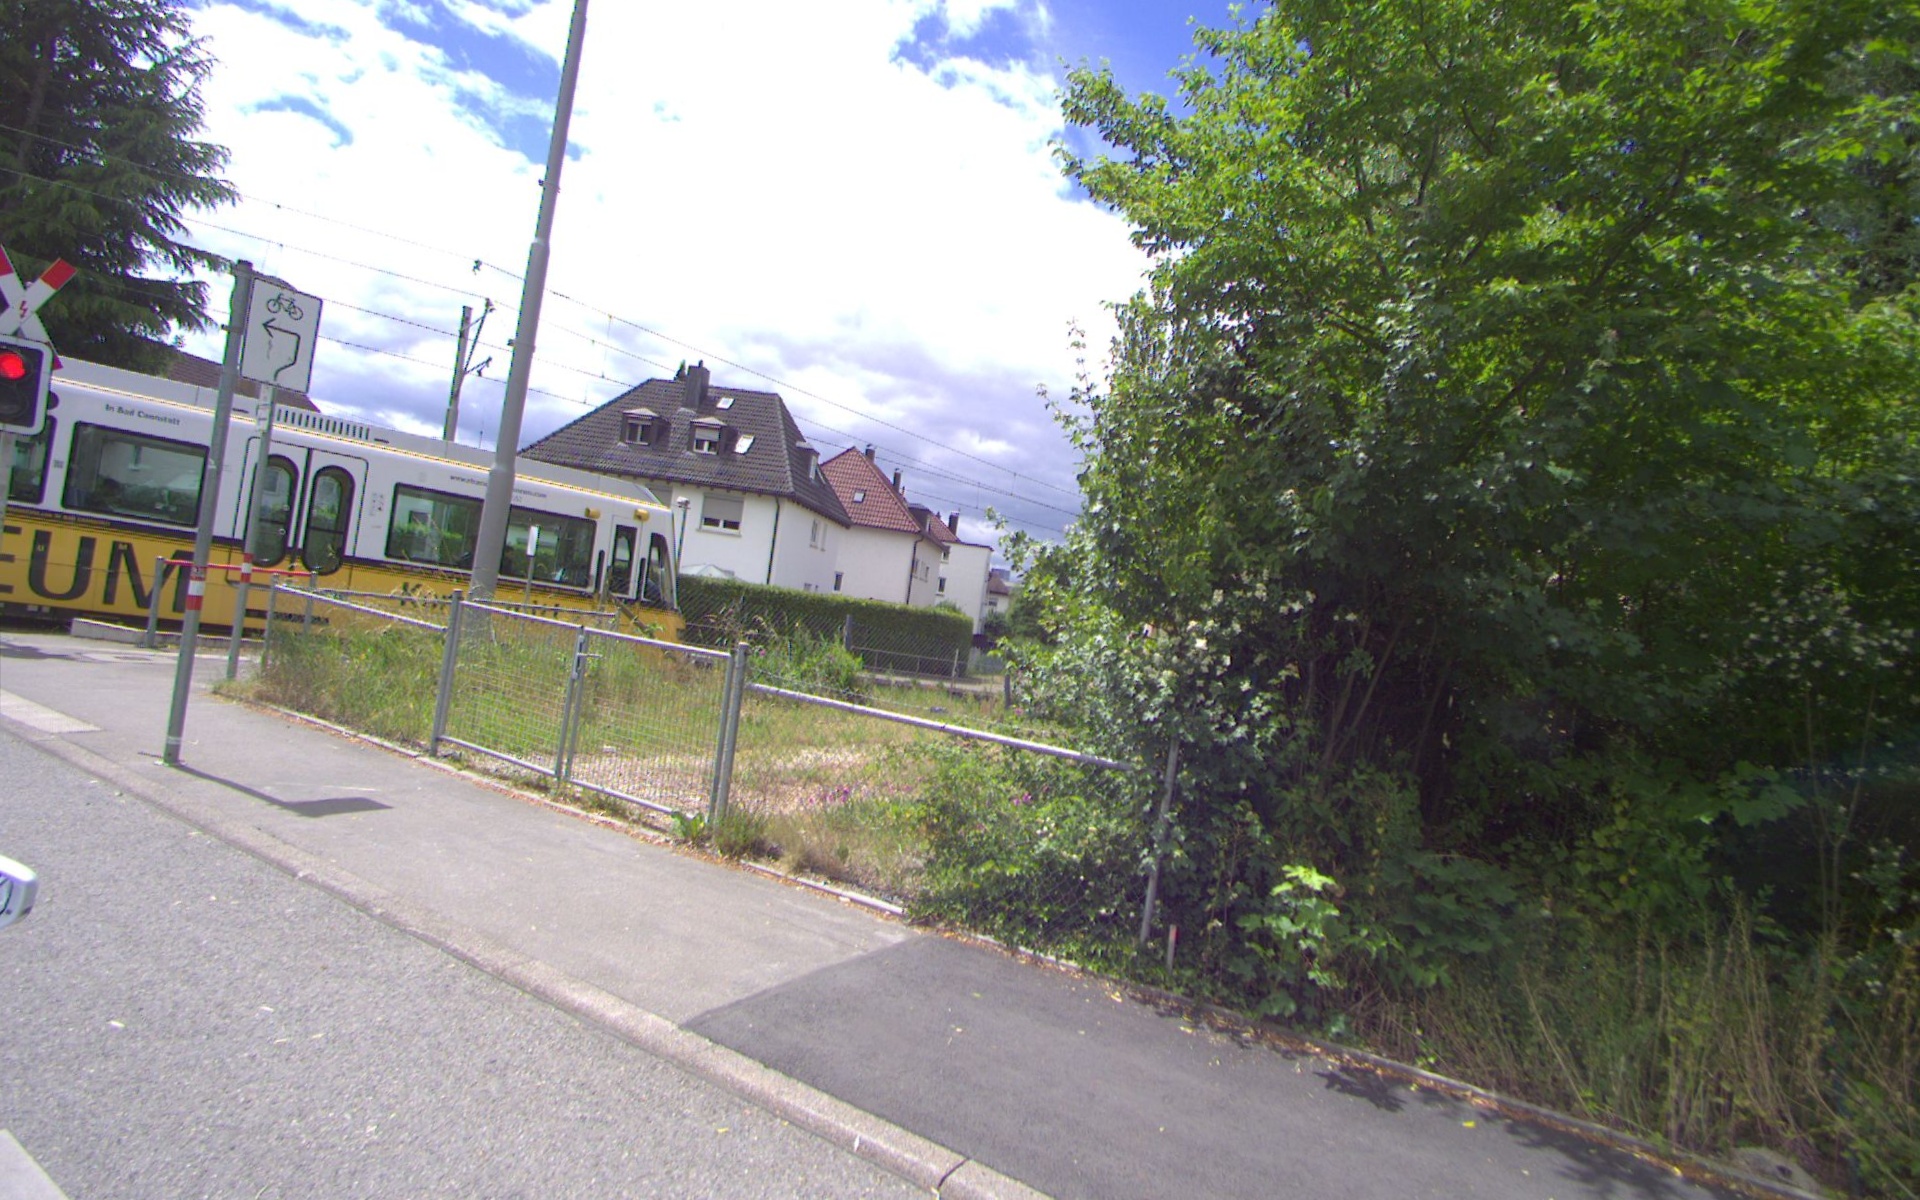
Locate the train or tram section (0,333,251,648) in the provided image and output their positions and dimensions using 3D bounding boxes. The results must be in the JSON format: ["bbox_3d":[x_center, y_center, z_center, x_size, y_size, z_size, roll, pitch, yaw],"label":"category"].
[{"bbox_3d":[-14.341,-1.811,13.344,7.655,3.762,2.842,10,-3,-36],"label":"train or tram section"}]

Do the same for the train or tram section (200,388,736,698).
[{"bbox_3d":[-8.320,-0.661,17.780,7.655,3.762,2.842,10,-3,-36],"label":"train or tram section"}]
